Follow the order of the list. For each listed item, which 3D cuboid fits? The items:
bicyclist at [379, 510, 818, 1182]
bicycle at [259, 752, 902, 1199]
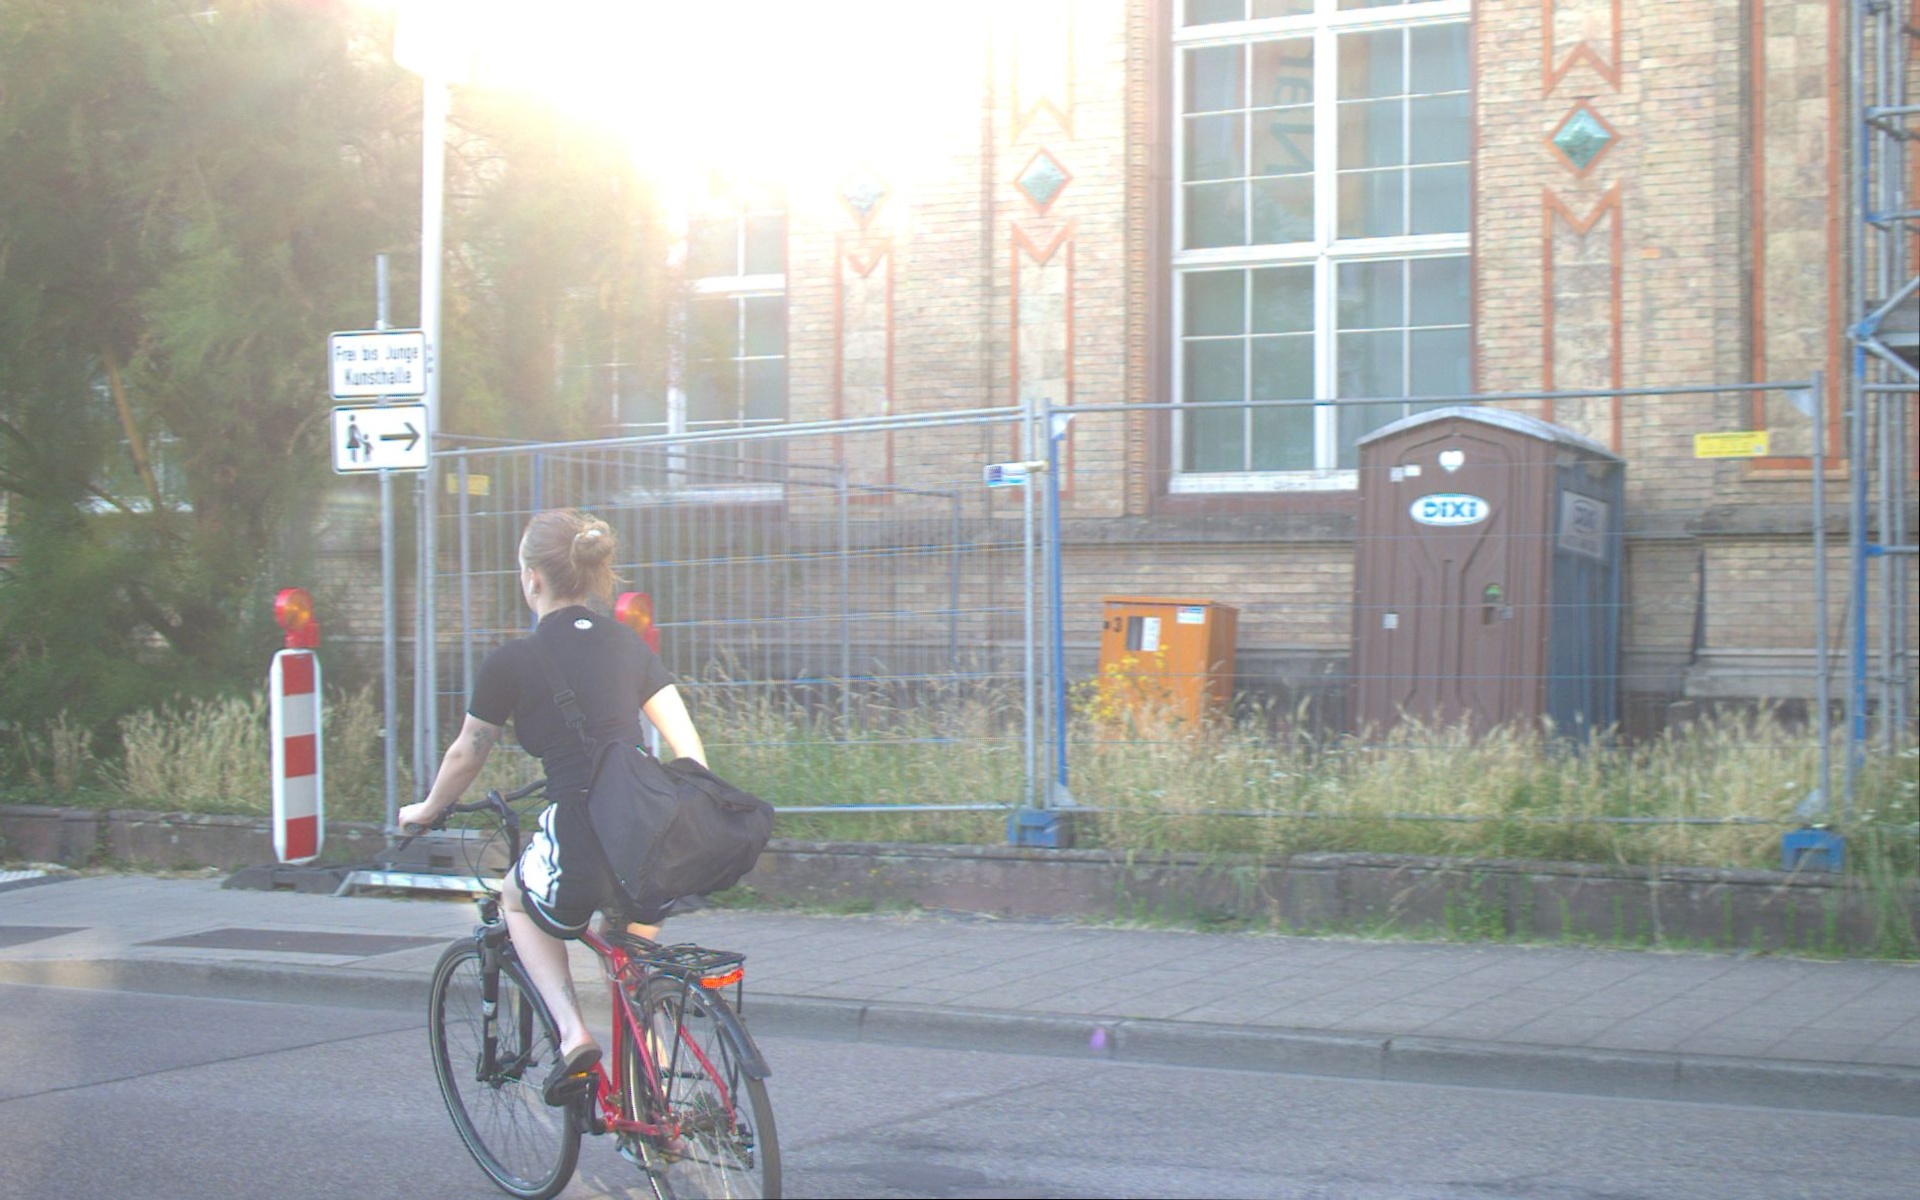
[{"bbox_3d":[-0.875,0.559,8.217,0.716,1.497,0.850,2,-2,-32],"label":"bicyclist"},{"bbox_3d":[-0.986,0.976,8.356,0.711,1.152,2.069,2,-1,-32],"label":"bicycle"}]
